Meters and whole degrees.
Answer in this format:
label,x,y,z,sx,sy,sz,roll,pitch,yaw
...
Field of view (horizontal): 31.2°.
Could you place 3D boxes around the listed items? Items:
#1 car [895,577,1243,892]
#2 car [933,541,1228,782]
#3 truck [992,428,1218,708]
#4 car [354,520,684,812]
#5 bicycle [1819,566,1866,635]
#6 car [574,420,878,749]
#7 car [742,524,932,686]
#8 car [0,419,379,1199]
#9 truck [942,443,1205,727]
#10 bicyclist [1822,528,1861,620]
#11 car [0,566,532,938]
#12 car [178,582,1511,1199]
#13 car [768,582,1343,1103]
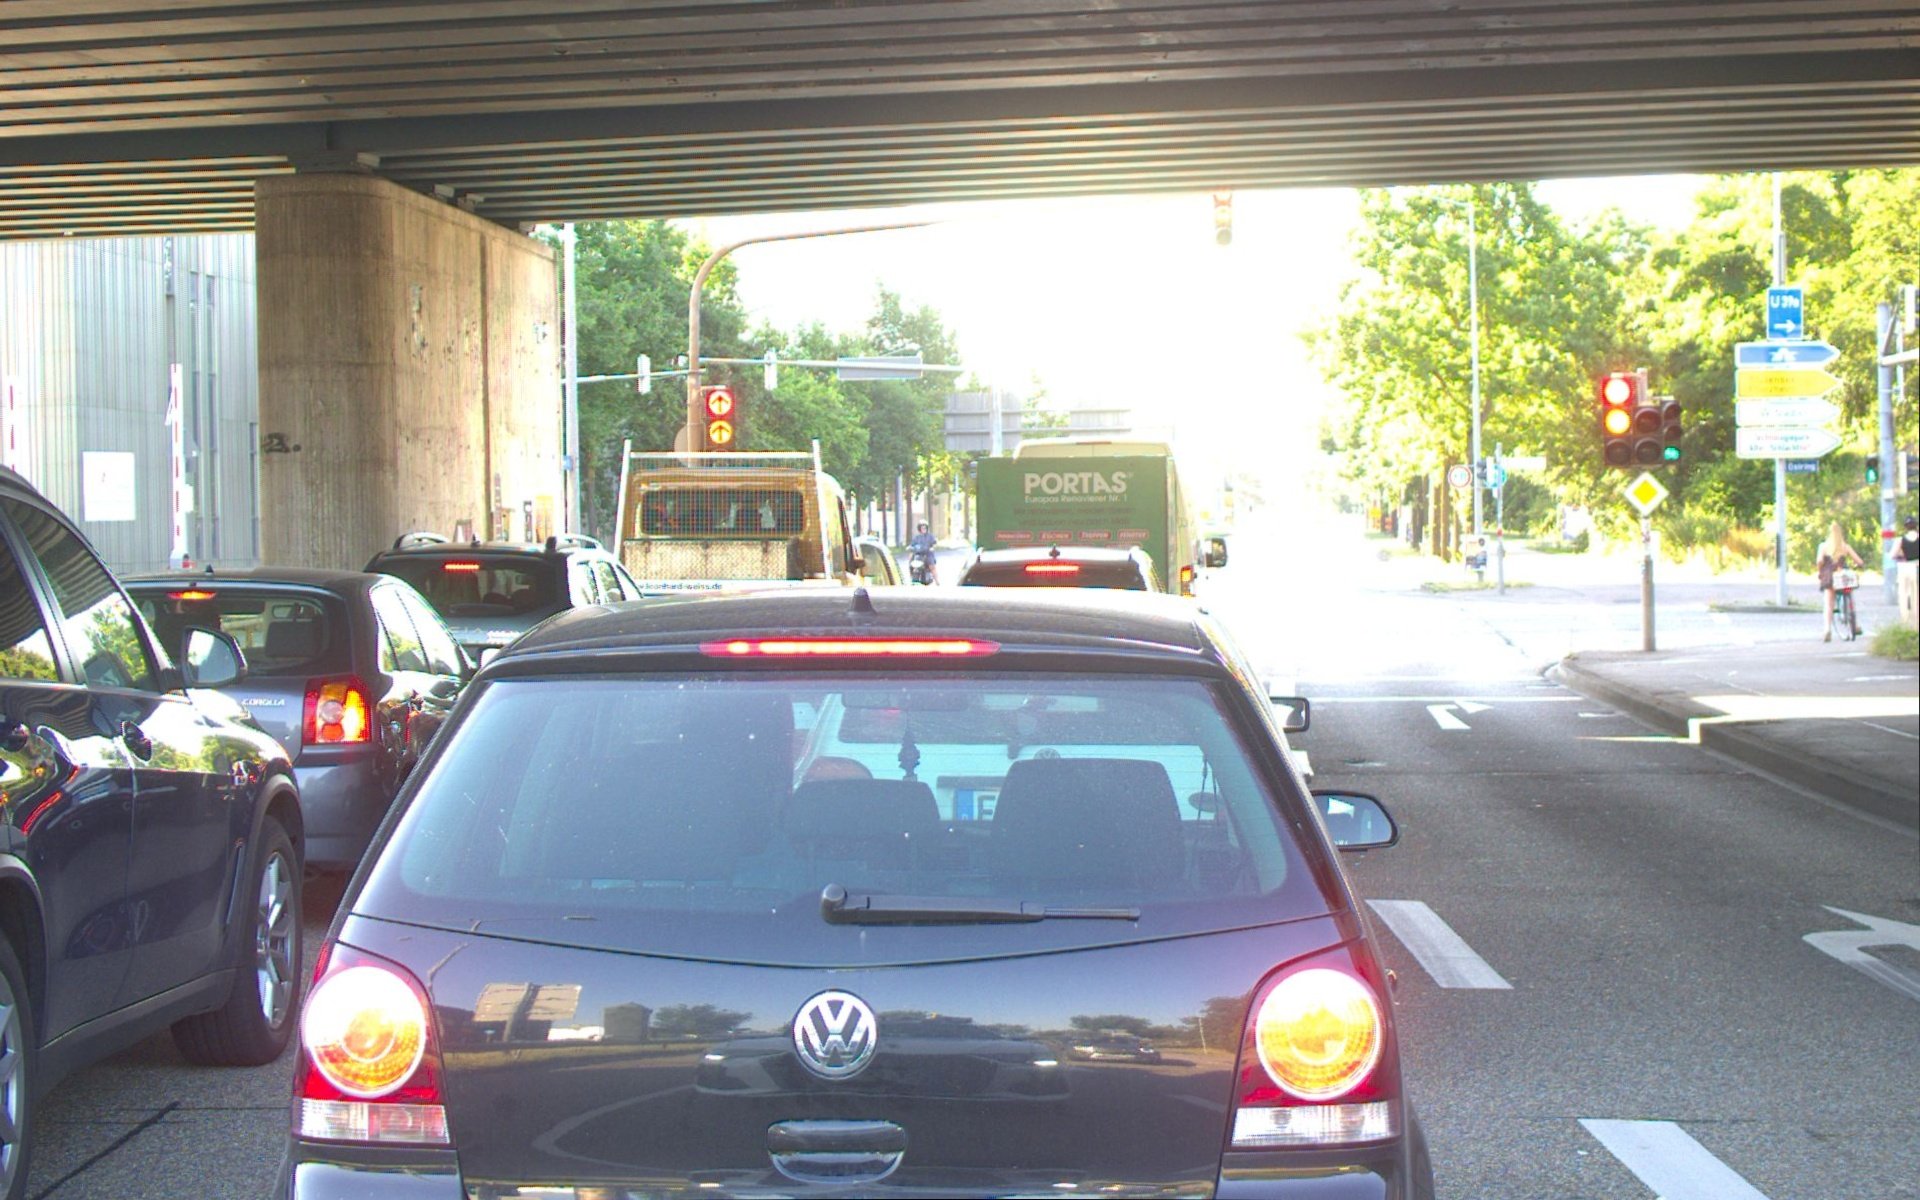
label,x,y,z,sx,sy,sz,roll,pitch,yaw
car,0.527,0.604,17.822,1.578,1.408,4.062,1,1,1
car,0.940,0.381,24.538,1.796,1.553,3.999,1,1,6
truck,1.535,-0.330,34.946,1.996,2.659,3.999,1,1,6
car,-2.708,0.364,21.807,1.616,1.673,3.683,1,1,0
bicycle,11.944,0.007,46.547,0.437,0.911,1.026,-2,0,6
car,-1.909,-0.151,29.684,2.137,2.567,5.087,1,1,1
car,-1.302,0.034,37.780,1.617,1.673,3.682,1,1,5
car,-2.908,0.467,8.313,1.994,1.728,4.532,1,1,3
truck,1.070,-0.147,30.250,1.996,2.307,3.999,1,1,6
bicyclist,11.939,-0.352,46.566,0.427,1.229,0.460,-1,0,6
car,-2.908,0.563,15.024,1.616,1.405,3.683,1,1,0
car,-0.218,0.691,6.039,1.616,1.405,3.683,1,1,-2
car,0.292,0.663,11.593,1.578,1.408,4.062,1,1,1
